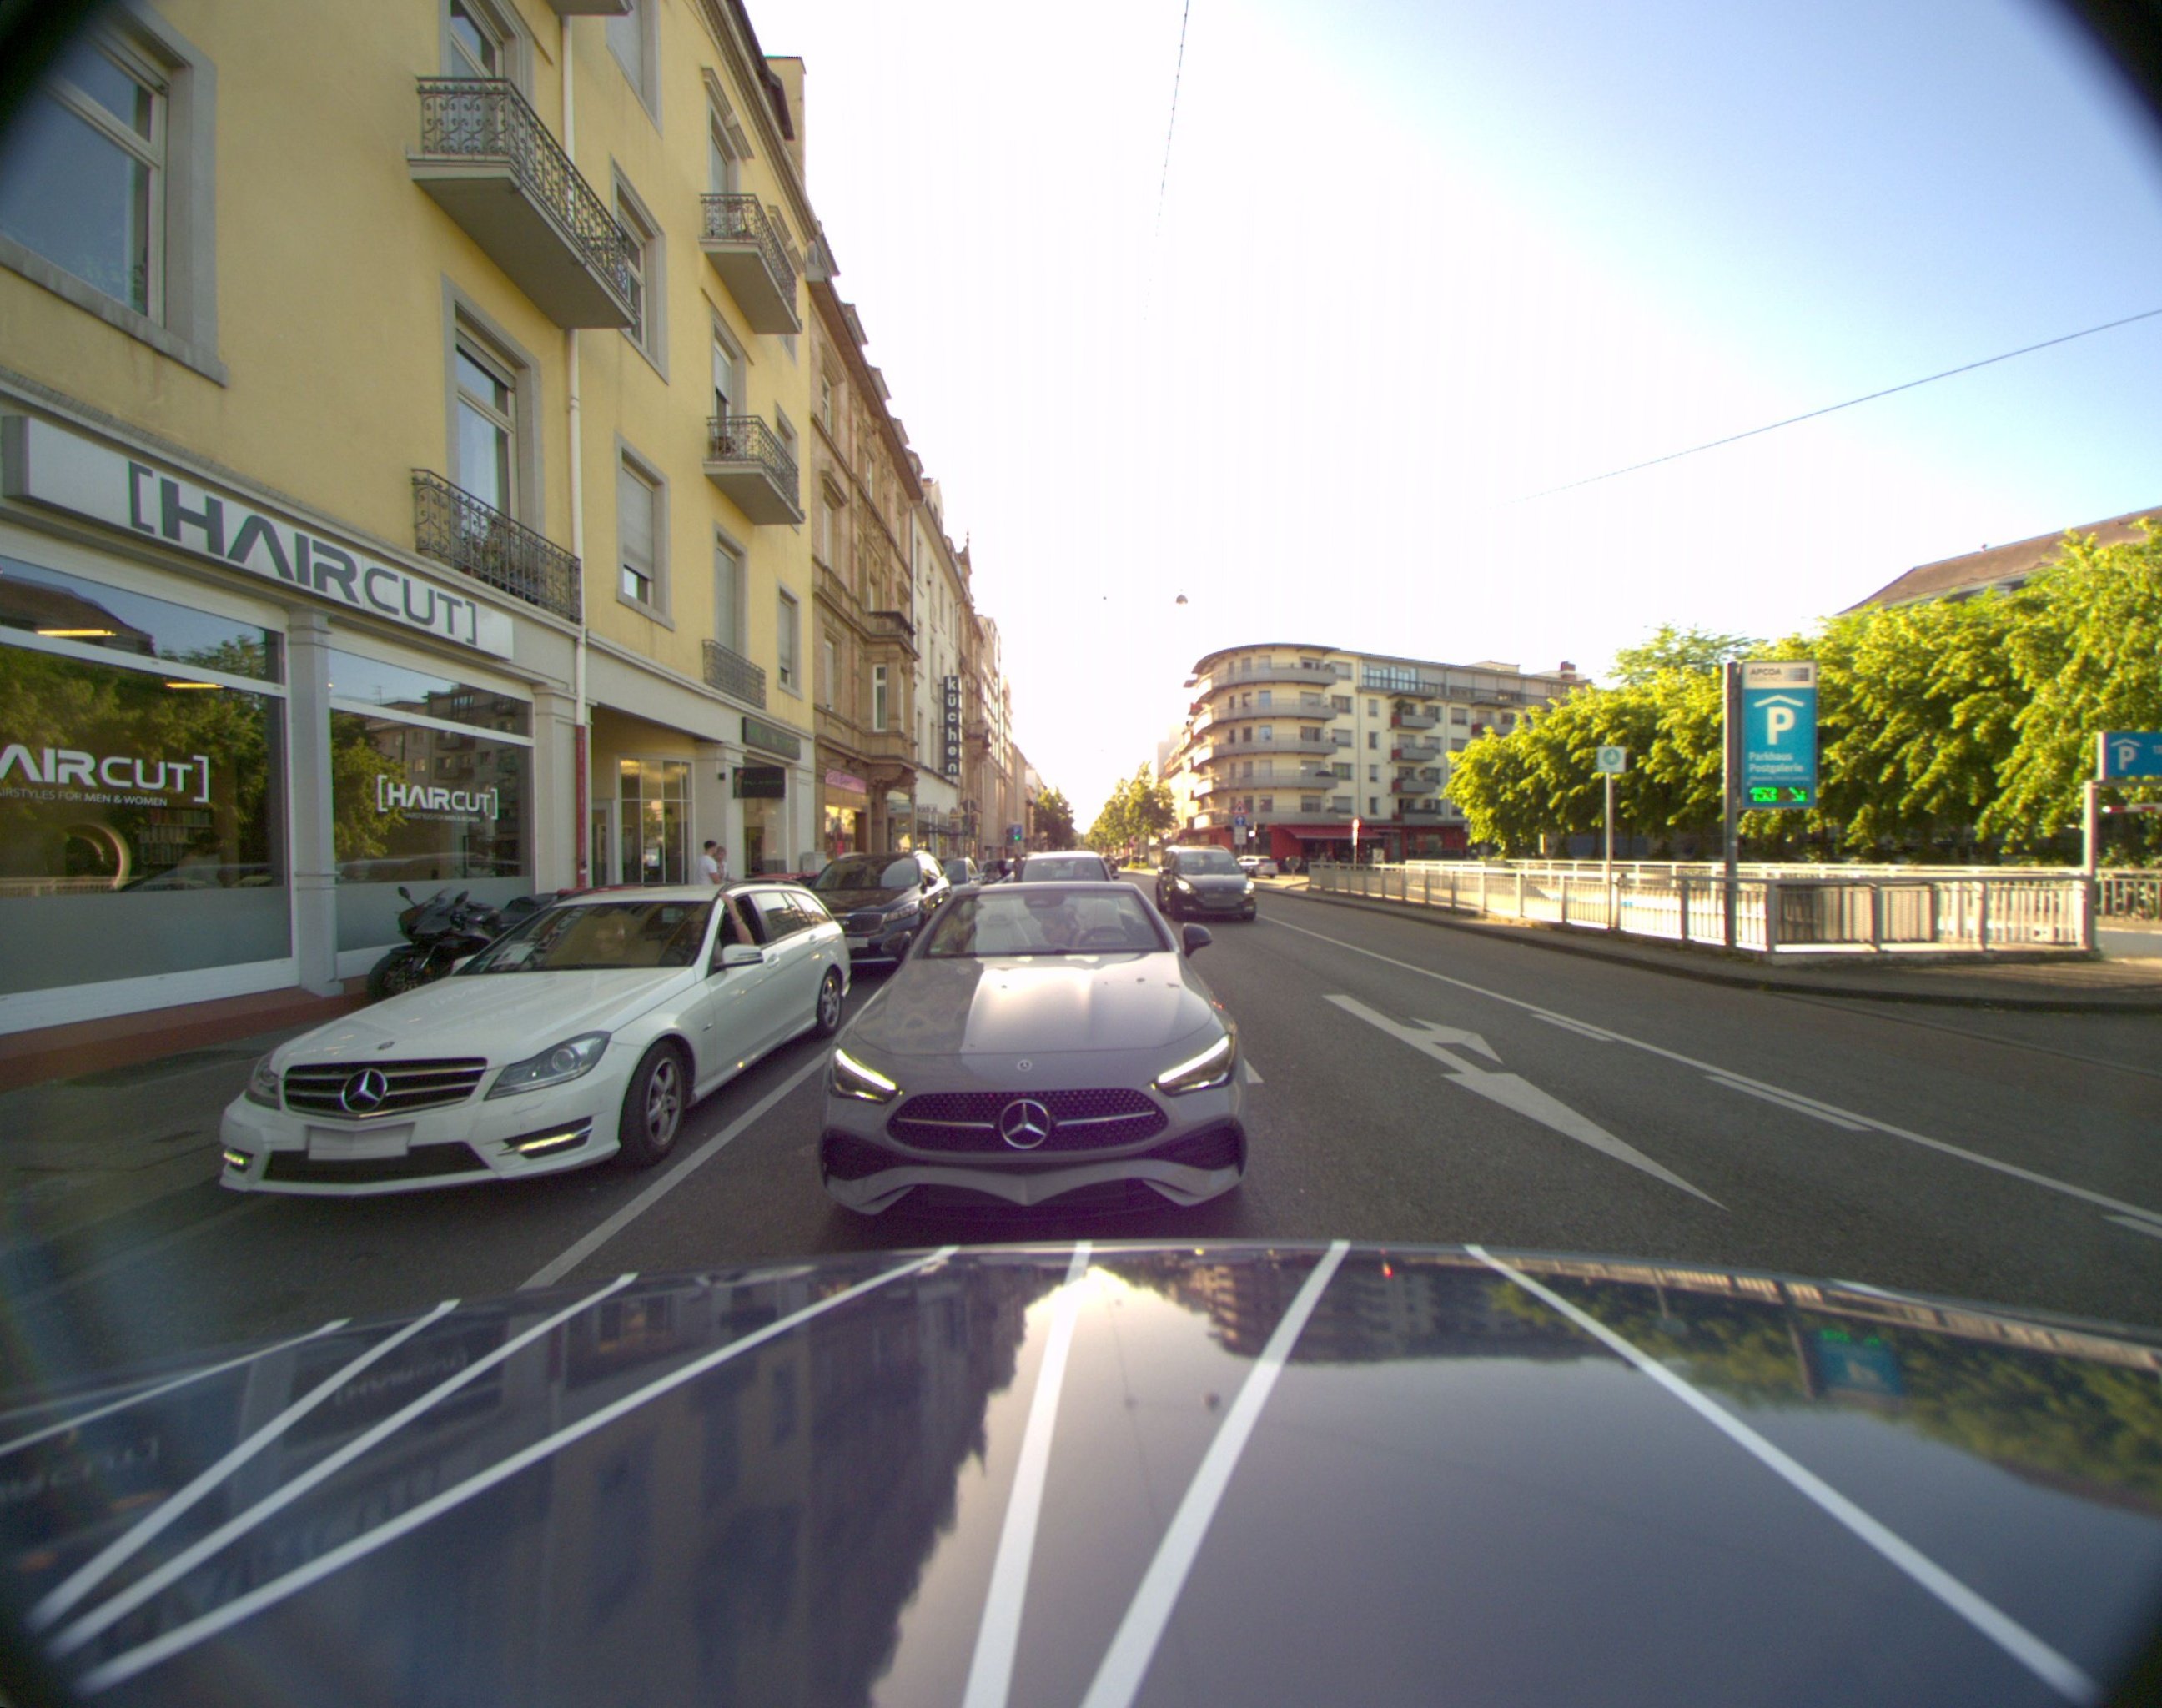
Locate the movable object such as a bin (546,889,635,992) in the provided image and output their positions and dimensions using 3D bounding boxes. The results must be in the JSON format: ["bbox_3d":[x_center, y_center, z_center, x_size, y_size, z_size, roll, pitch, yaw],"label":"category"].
[{"bbox_3d":[-6.101,1.061,9.480,0.647,1.200,0.644,-1,1,1],"label":"movable object such as a bin"}]

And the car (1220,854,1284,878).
[{"bbox_3d":[11.184,0.766,49.990,1.806,1.426,4.242,-2,0,-28],"label":"car"}]

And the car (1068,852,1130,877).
[{"bbox_3d":[1.161,0.642,46.502,1.995,1.375,4.297,-1,0,29],"label":"car"}]

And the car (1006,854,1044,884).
[{"bbox_3d":[-2.974,0.762,40.990,1.715,1.477,3.999,-1,0,0],"label":"car"}]

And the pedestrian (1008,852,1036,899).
[{"bbox_3d":[-2.142,0.761,27.476,0.694,1.657,0.833,-2,1,-26],"label":"pedestrian"}]

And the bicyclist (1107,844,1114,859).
[{"bbox_3d":[3.460,-0.279,89.260,0.757,1.651,1.144,-2,1,5],"label":"bicyclist"}]

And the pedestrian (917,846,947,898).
[{"bbox_3d":[-4.752,0.570,24.308,0.795,1.607,0.763,-1,1,-1],"label":"pedestrian"}]

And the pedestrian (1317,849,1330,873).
[{"bbox_3d":[17.472,0.477,54.783,0.674,1.696,0.699,-2,1,-7],"label":"pedestrian"}]

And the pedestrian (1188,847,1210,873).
[{"bbox_3d":[9.217,0.467,59.354,1.202,2.002,1.018,-3,1,-37],"label":"pedestrian"}]

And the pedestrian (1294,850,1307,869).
[{"bbox_3d":[17.698,0.438,61.145,0.583,1.453,0.790,-2,1,-37],"label":"pedestrian"}]

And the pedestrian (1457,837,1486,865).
[{"bbox_3d":[28.027,-0.223,54.576,1.320,2.002,1.294,-2,1,-14],"label":"pedestrian"}]

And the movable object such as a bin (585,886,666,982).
[{"bbox_3d":[-6.052,1.052,10.132,0.647,1.200,0.644,-1,1,1],"label":"movable object such as a bin"}]

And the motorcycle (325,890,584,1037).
[{"bbox_3d":[-6.255,1.022,7.818,0.773,1.158,2.247,1,0,1],"label":"motorcycle"}]

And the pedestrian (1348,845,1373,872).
[{"bbox_3d":[21.749,0.337,59.170,1.234,2.002,1.259,-2,1,-21],"label":"pedestrian"}]

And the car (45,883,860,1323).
[{"bbox_3d":[-3.068,1.043,5.215,1.759,1.453,4.597,-1,0,0],"label":"car"}]

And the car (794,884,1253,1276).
[{"bbox_3d":[-0.252,1.014,5.266,1.849,1.371,4.255,-2,0,-1],"label":"car"}]

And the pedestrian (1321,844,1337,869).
[{"bbox_3d":[18.057,0.213,55.265,0.756,1.795,0.755,-2,1,-39],"label":"pedestrian"}]

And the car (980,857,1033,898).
[{"bbox_3d":[-2.950,0.880,30.720,1.715,1.477,3.999,-1,0,0],"label":"car"}]

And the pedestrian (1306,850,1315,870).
[{"bbox_3d":[17.959,0.460,59.490,0.581,1.481,0.793,-1,1,13],"label":"pedestrian"}]

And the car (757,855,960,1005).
[{"bbox_3d":[-2.985,0.891,11.296,1.858,1.688,4.697,-1,0,-4],"label":"car"}]

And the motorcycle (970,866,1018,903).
[{"bbox_3d":[-3.050,1.046,26.779,0.769,1.225,1.546,-1,1,42],"label":"motorcycle"}]

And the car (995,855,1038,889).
[{"bbox_3d":[-3.043,0.812,36.472,1.715,1.477,3.999,-1,0,0],"label":"car"}]

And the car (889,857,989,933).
[{"bbox_3d":[-3.237,0.889,17.886,1.696,1.559,3.018,-1,0,1],"label":"car"}]

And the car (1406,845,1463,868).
[{"bbox_3d":[29.042,0.173,62.442,4.004,1.740,1.996,-2,1,-23],"label":"car"}]

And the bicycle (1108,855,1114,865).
[{"bbox_3d":[3.518,0.689,89.420,0.661,1.083,1.971,-1,0,2],"label":"bicycle"}]

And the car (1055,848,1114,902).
[{"bbox_3d":[0.141,0.684,27.348,1.952,1.742,4.000,-1,0,1],"label":"car"}]

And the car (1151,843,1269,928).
[{"bbox_3d":[2.938,0.657,18.363,1.999,1.761,4.727,-1,0,0],"label":"car"}]

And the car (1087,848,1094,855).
[{"bbox_3d":[2.725,-0.671,218.648,1.998,1.805,4.000,-1,0,1],"label":"car"}]

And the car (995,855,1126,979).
[{"bbox_3d":[-0.244,0.848,12.169,1.716,1.599,4.000,-1,0,1],"label":"car"}]

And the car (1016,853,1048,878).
[{"bbox_3d":[-3.016,0.690,47.585,1.715,1.477,4.062,-1,0,0],"label":"car"}]

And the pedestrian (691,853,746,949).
[{"bbox_3d":[-6.200,0.786,13.027,0.572,1.607,0.643,-1,1,2],"label":"pedestrian"}]

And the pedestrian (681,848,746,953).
[{"bbox_3d":[-5.818,0.716,12.072,0.642,1.607,0.701,-1,1,-1],"label":"pedestrian"}]
